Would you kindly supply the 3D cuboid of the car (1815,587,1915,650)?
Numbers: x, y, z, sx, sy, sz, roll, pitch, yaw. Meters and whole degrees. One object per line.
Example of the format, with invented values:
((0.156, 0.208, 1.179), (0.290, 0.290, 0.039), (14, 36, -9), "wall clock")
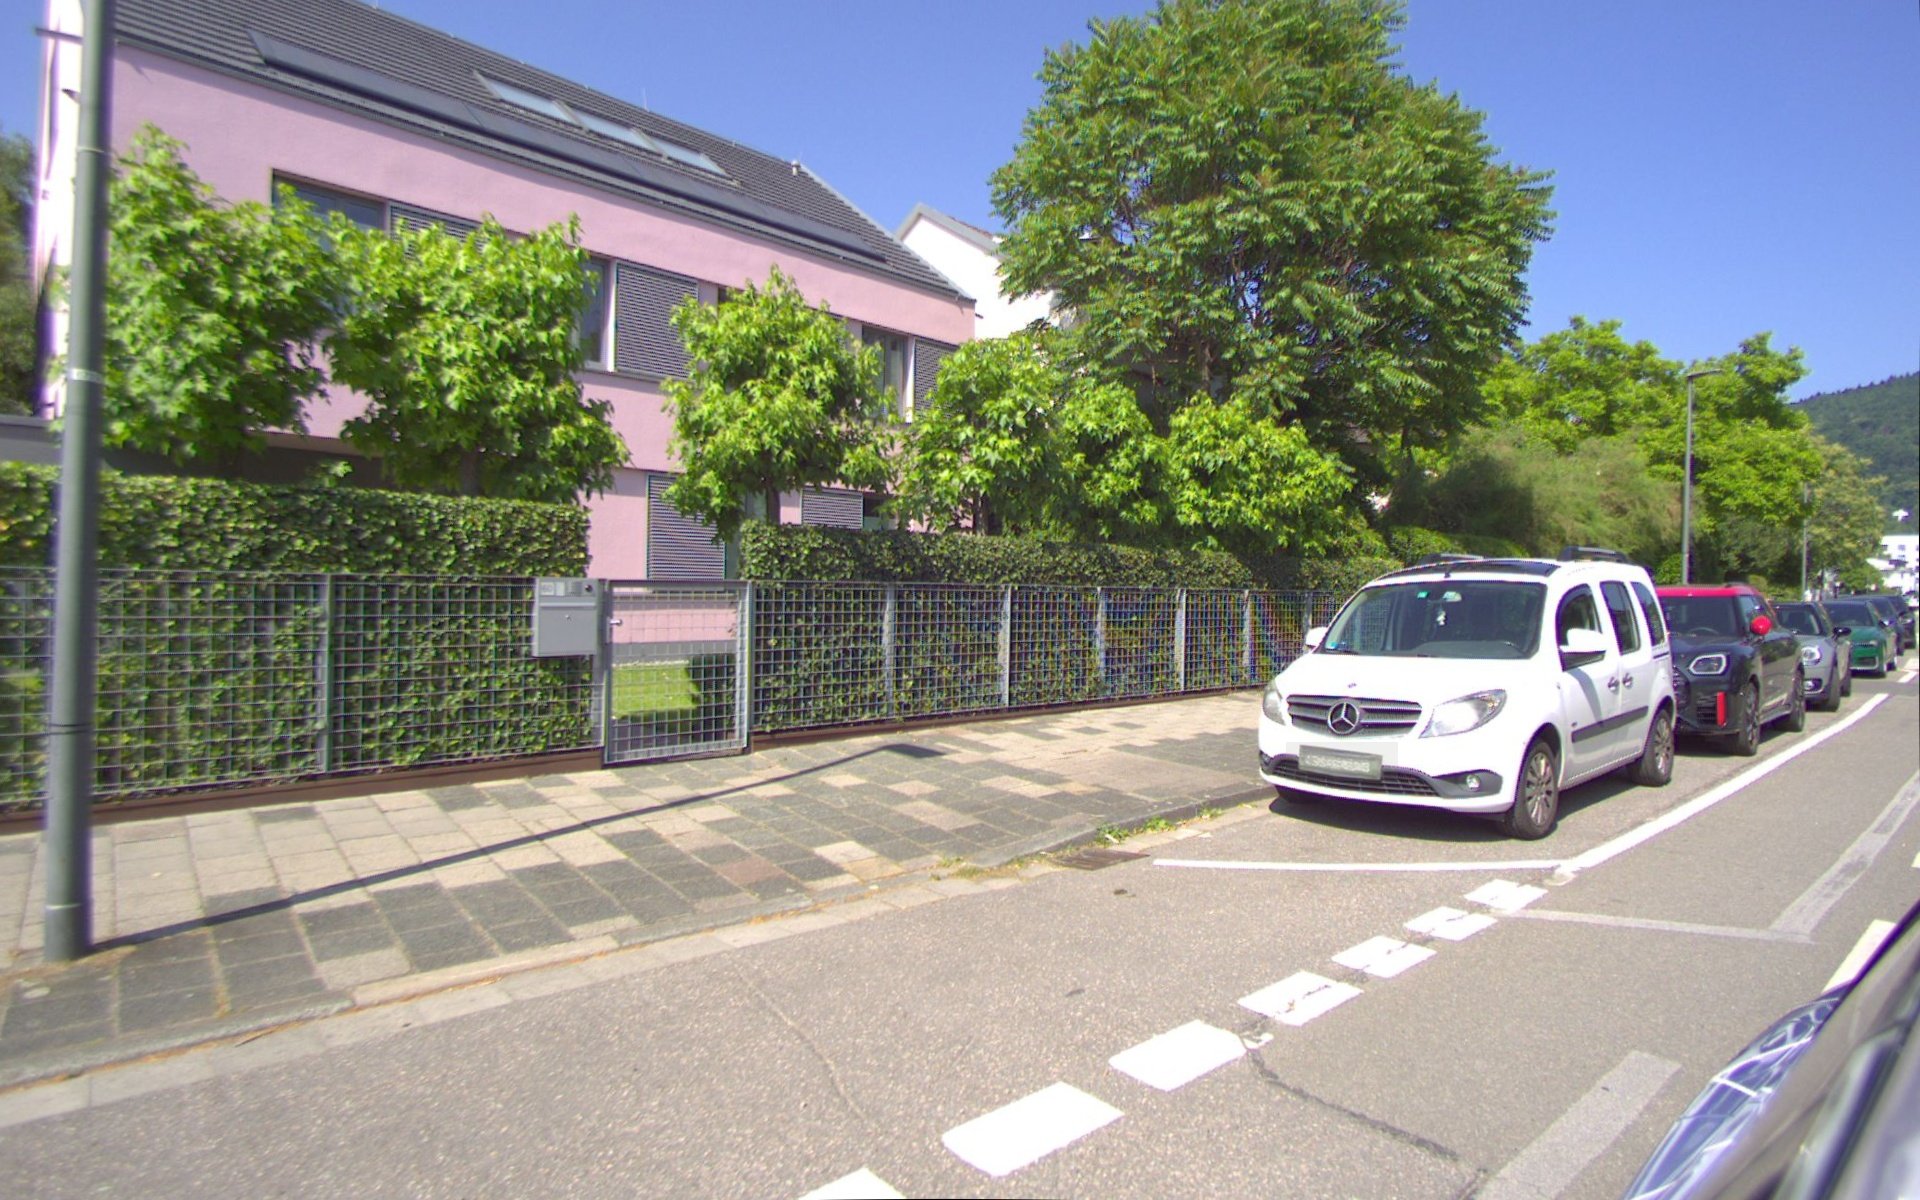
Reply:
((24.815, 0.509, 27.711), (1.812, 1.579, 3.853), (-4, -3, 44), "car")

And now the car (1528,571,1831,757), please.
((7.871, 0.553, 10.912), (4.239, 1.613, 1.765), (0, 1, -42), "car")

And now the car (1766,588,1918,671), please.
((17.822, 0.560, 20.362), (4.707, 1.482, 1.813), (0, -2, -43), "car")

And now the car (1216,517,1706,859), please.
((3.995, 0.445, 7.652), (4.520, 1.850, 1.764), (-1, 0, -42), "car")

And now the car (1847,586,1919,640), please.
((28.730, 0.388, 31.186), (1.812, 1.579, 4.525), (-1, -1, 45), "car")

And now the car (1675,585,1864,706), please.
((11.889, 0.572, 14.769), (1.763, 1.461, 4.004), (3, 2, 44), "car")
